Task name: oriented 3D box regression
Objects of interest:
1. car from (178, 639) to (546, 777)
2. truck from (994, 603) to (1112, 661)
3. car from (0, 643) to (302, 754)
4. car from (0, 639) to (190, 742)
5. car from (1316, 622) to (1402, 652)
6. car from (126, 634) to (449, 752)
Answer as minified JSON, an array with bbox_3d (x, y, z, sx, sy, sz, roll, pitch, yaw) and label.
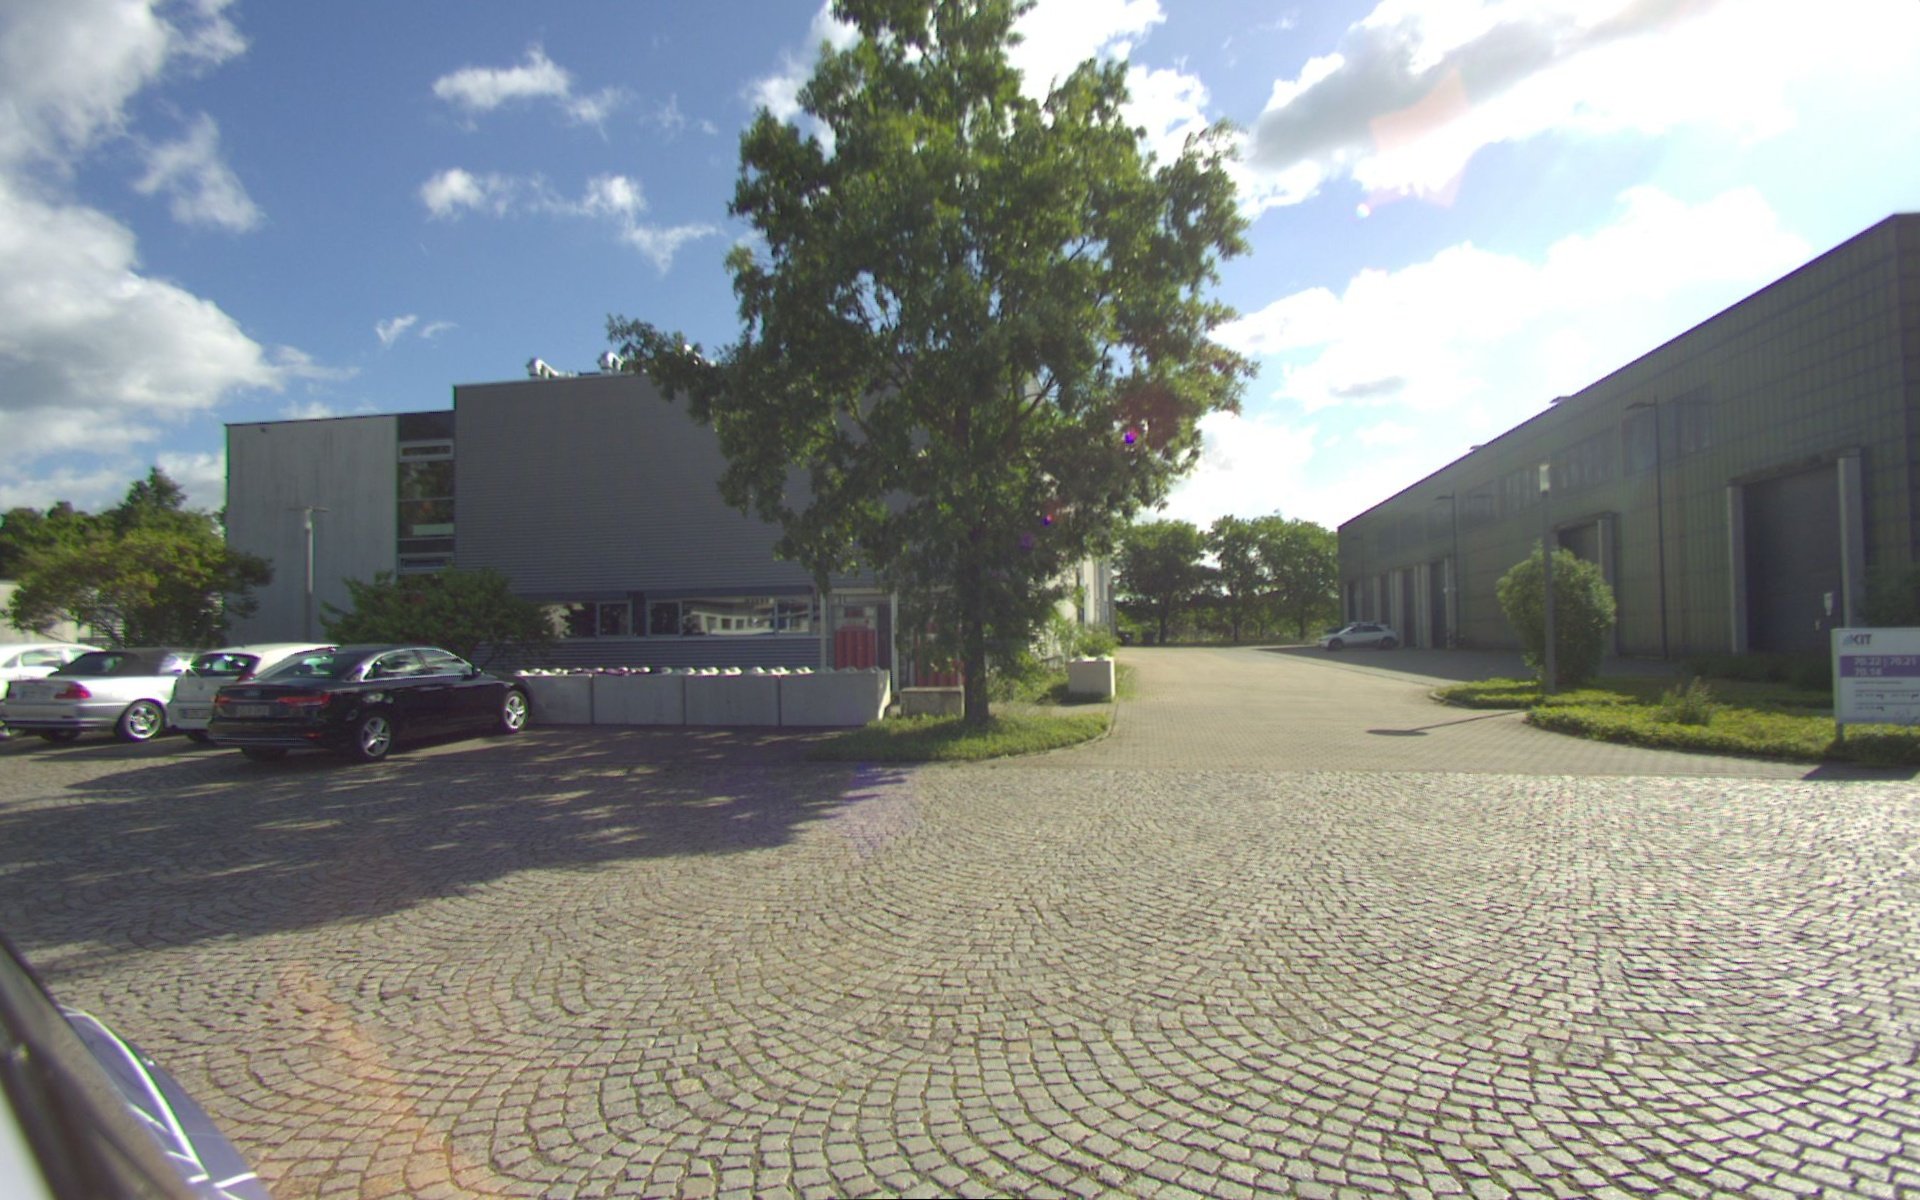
[{"bbox_3d":[-7.846,1.332,13.936,1.737,1.434,4.720,-1,-1,10],"label":"car"},{"bbox_3d":[6.567,2.281,71.218,8.018,3.847,2.640,-2,-3,12],"label":"truck"},{"bbox_3d":[-12.696,1.447,15.897,1.710,1.382,3.911,-2,-1,11],"label":"car"},{"bbox_3d":[-15.155,1.446,16.554,1.737,1.457,3.911,-2,-1,11],"label":"car"},{"bbox_3d":[24.197,2.263,61.530,4.529,1.675,1.993,-1,-2,10],"label":"car"},{"bbox_3d":[-10.241,1.339,15.835,1.676,1.471,4.130,-2,-1,16],"label":"car"}]
